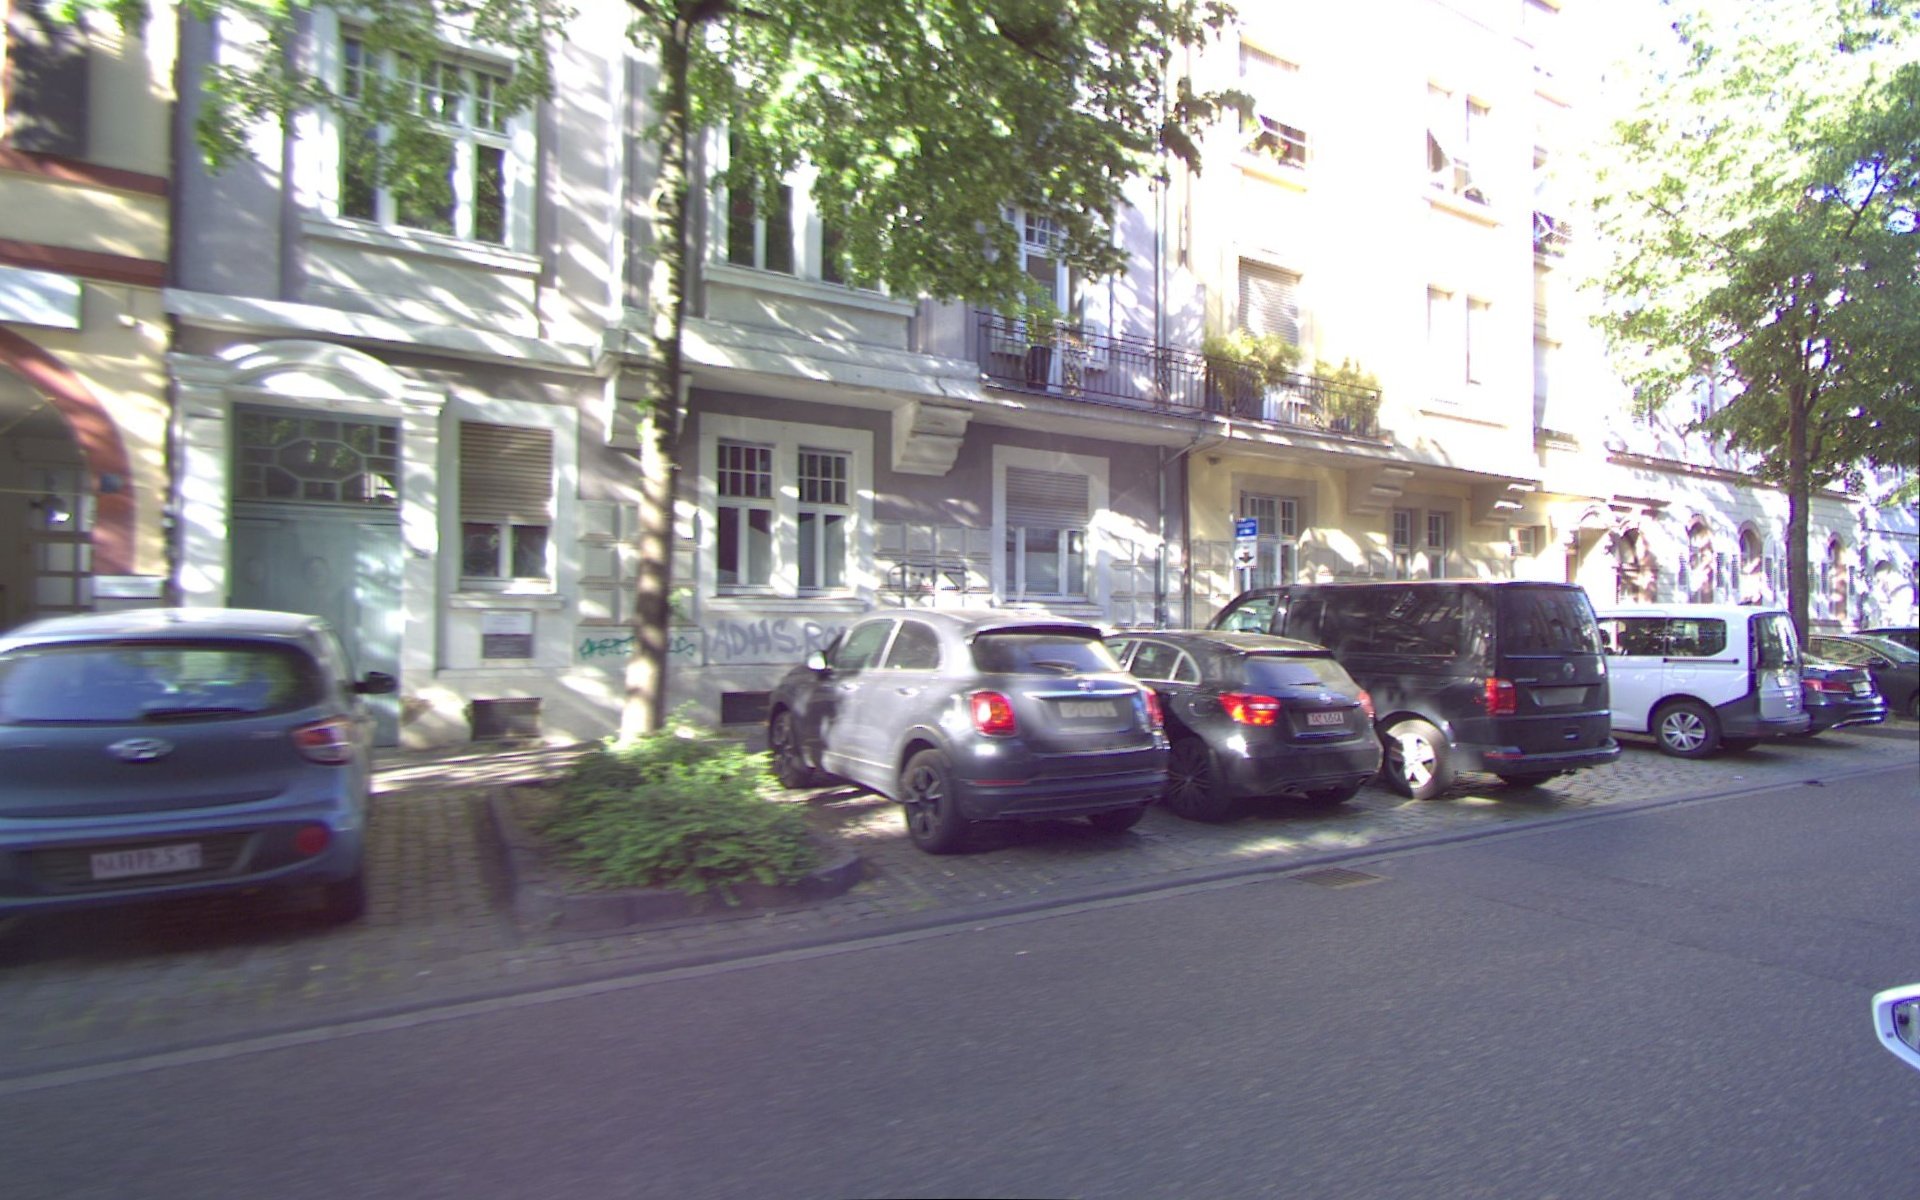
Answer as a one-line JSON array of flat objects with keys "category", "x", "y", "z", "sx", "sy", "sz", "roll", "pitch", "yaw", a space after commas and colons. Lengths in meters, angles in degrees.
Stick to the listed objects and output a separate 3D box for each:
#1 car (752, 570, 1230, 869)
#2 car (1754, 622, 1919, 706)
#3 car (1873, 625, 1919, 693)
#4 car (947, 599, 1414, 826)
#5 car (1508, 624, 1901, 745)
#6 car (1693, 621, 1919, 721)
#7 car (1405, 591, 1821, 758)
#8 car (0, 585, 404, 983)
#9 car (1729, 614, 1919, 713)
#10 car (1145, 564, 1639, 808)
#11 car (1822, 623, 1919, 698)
[{"category": "car", "x": -0.063, "y": 0.745, "z": 8.270, "sx": 1.895, "sy": 1.756, "sz": 4.317, "roll": 1, "pitch": -1, "yaw": -31}, {"category": "car", "x": 18.975, "y": 1.262, "z": 20.253, "sx": 1.787, "sy": 1.603, "sz": 4.320, "roll": 1, "pitch": -1, "yaw": -29}, {"category": "car", "x": 23.628, "y": 1.382, "z": 22.437, "sx": 1.891, "sy": 1.561, "sz": 4.452, "roll": 1, "pitch": -1, "yaw": -26}, {"category": "car", "x": 1.786, "y": 0.844, "z": 9.535, "sx": 1.895, "sy": 1.616, "sz": 4.317, "roll": 1, "pitch": -1, "yaw": -31}, {"category": "car", "x": 10.793, "y": 1.123, "z": 14.915, "sx": 1.895, "sy": 1.458, "sz": 4.317, "roll": 1, "pitch": -1, "yaw": -31}, {"category": "car", "x": 15.551, "y": 1.170, "z": 17.231, "sx": 1.892, "sy": 1.561, "sz": 4.449, "roll": 1, "pitch": -1, "yaw": -27}, {"category": "car", "x": 8.517, "y": 0.865, "z": 13.468, "sx": 1.898, "sy": 1.858, "sz": 4.309, "roll": 1, "pitch": -1, "yaw": -36}, {"category": "car", "x": -4.511, "y": 0.757, "z": 6.039, "sx": 1.895, "sy": 1.565, "sz": 4.318, "roll": 1, "pitch": -1, "yaw": -31}, {"category": "car", "x": 17.425, "y": 1.155, "z": 18.919, "sx": 1.894, "sy": 1.732, "sz": 4.320, "roll": 1, "pitch": -1, "yaw": -29}, {"category": "car", "x": 4.156, "y": 0.735, "z": 10.515, "sx": 1.907, "sy": 1.952, "sz": 4.553, "roll": 1, "pitch": -1, "yaw": -29}, {"category": "car", "x": 21.247, "y": 1.299, "z": 21.078, "sx": 1.894, "sy": 1.561, "sz": 4.445, "roll": 1, "pitch": -1, "yaw": -30}]
